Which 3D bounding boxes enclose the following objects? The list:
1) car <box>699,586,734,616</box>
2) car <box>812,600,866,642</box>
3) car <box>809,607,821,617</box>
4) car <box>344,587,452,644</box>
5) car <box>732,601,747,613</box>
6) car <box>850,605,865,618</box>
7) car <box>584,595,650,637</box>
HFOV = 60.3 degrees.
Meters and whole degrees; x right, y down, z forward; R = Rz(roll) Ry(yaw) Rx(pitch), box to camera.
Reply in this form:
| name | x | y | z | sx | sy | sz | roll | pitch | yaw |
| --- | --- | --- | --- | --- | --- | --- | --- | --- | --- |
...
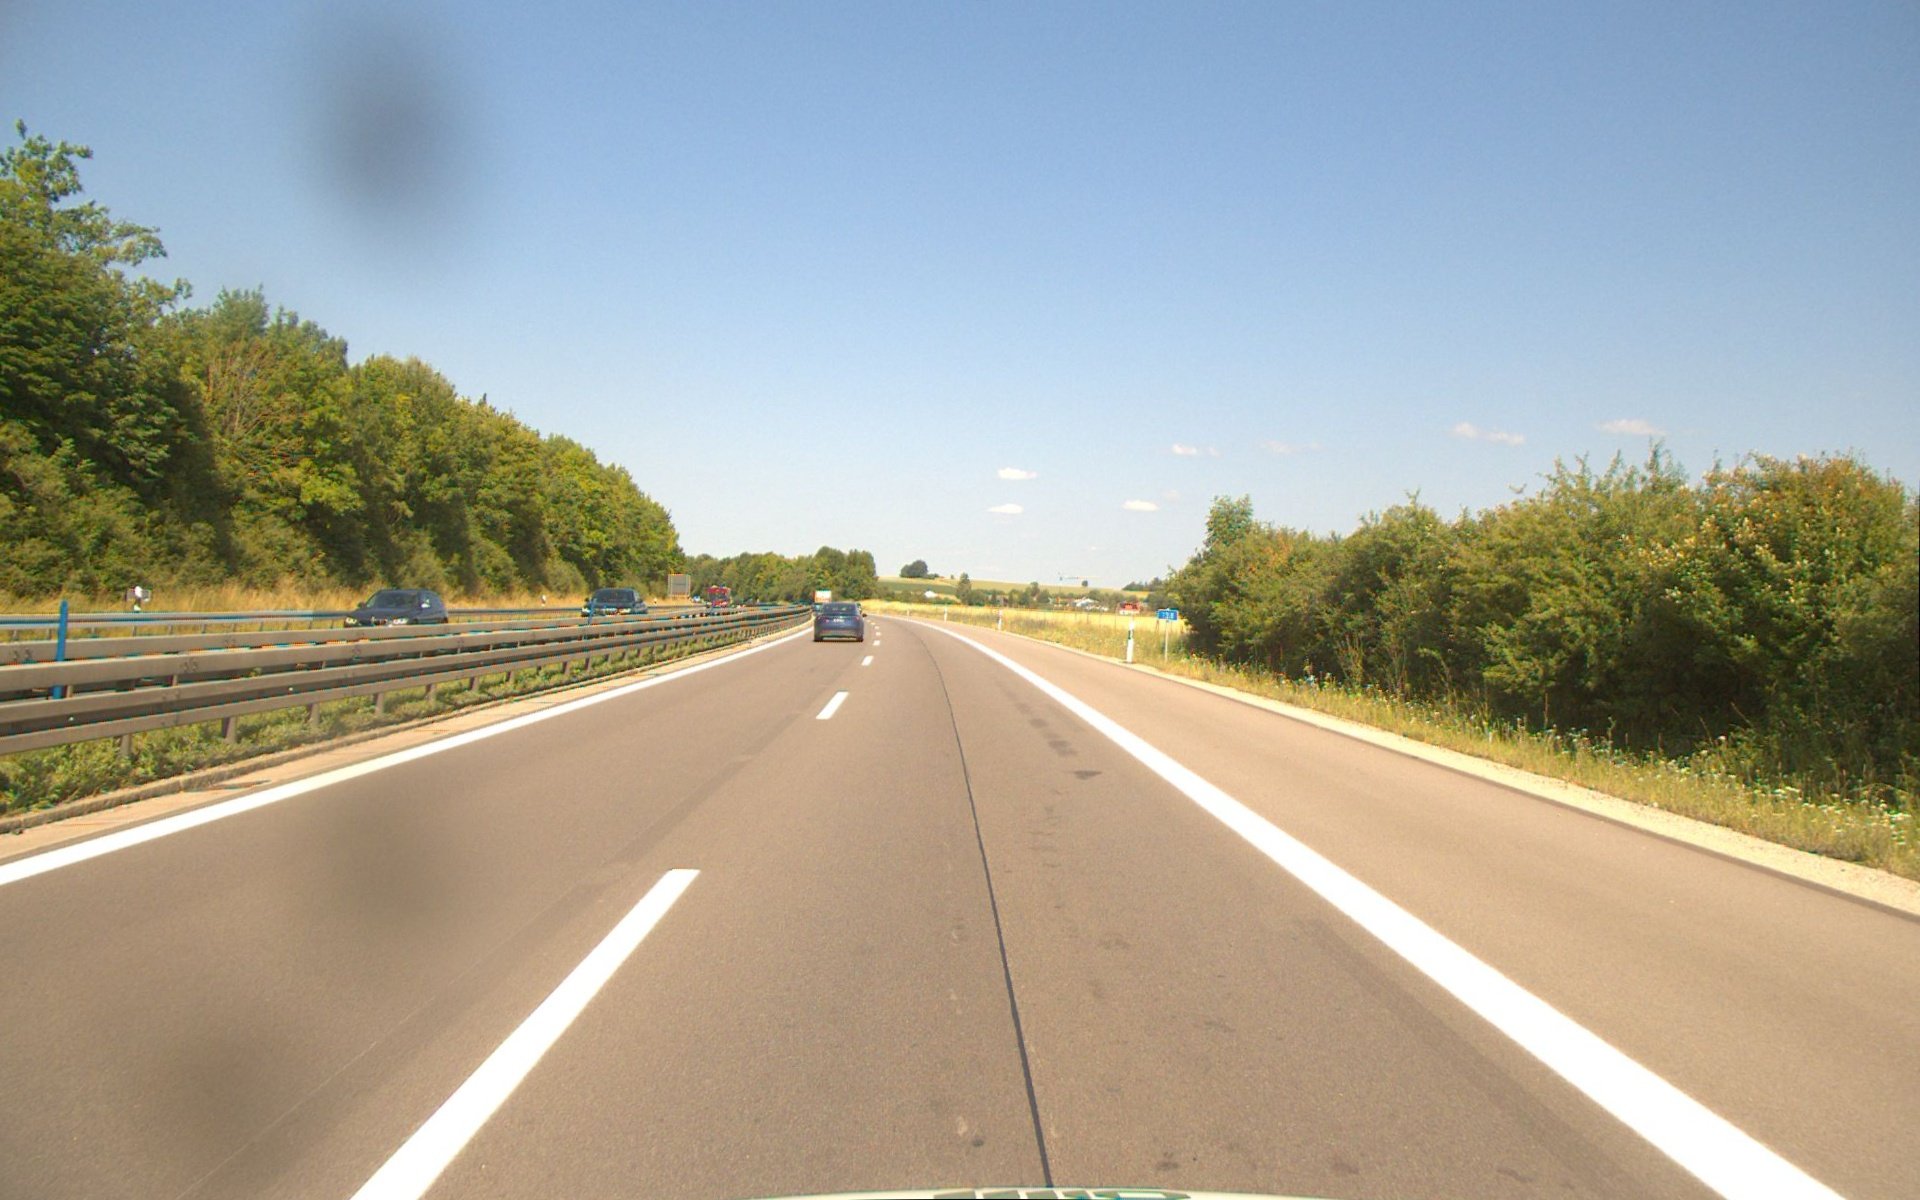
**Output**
| name | x | y | z | sx | sy | sz | roll | pitch | yaw |
| --- | --- | --- | --- | --- | --- | --- | --- | --- | --- |
| car | -22.451 | 0.111 | 152.526 | 2.493 | 2.640 | 6.589 | 2 | 0 | -3 |
| car | -4.553 | 0.755 | 62.705 | 1.810 | 1.458 | 5.863 | 1 | 0 | -2 |
| car | -20.862 | 1.727 | 237.642 | 1.643 | 1.478 | 3.588 | 2 | 0 | -5 |
| car | -15.086 | 0.404 | 44.610 | 1.628 | 1.447 | 3.998 | 1 | 0 | -2 |
| car | -30.047 | 0.944 | 225.314 | 1.775 | 1.582 | 4.845 | 2 | 0 | -4 |
| car | -12.779 | 1.404 | 206.441 | 1.644 | 1.478 | 3.587 | 2 | 0 | -6 |
| car | -12.426 | 0.569 | 60.118 | 1.628 | 1.447 | 3.998 | 1 | 0 | -2 |
